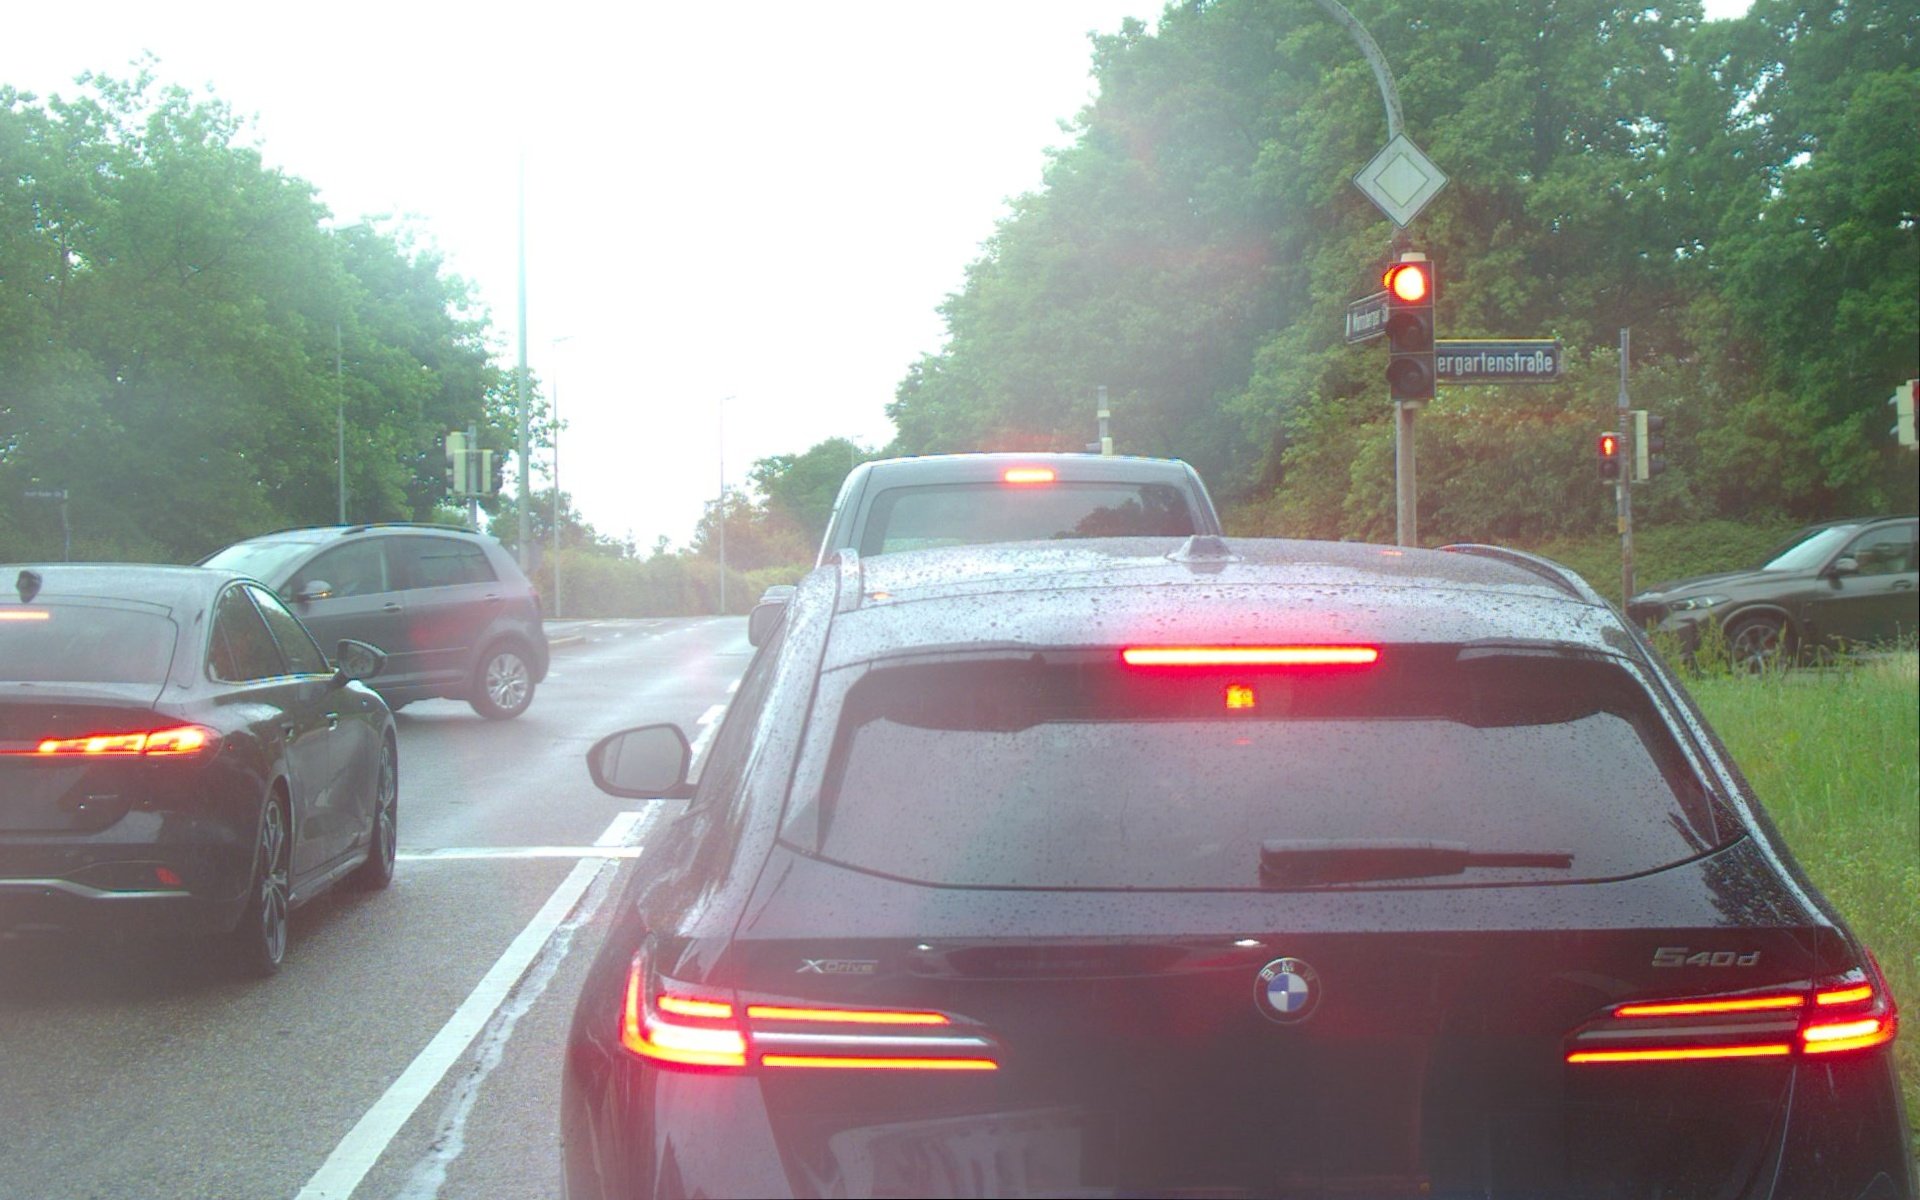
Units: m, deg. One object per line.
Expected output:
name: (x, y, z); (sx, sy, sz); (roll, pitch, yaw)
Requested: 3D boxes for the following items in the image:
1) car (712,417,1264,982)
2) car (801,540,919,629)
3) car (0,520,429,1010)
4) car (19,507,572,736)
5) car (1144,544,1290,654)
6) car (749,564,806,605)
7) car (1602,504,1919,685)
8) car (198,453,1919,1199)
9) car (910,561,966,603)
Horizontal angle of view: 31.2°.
car: (0.087, 0.305, 13.337); (1.818, 1.862, 3.952); (0, 1, 0)
car: (-1.756, -0.276, 59.262); (1.697, 1.422, 3.514); (-3, 1, -6)
car: (-3.372, 0.524, 13.026); (1.993, 1.522, 4.328); (-2, 1, 0)
car: (-5.218, 0.133, 27.371); (1.747, 1.596, 4.022); (-1, 2, 42)
car: (3.874, -0.039, 52.405); (1.873, 1.537, 3.952); (-2, 1, 0)
car: (-8.645, -0.743, 163.217); (1.994, 1.820, 3.999); (-2, 0, 6)
car: (9.235, -0.111, 35.422); (4.701, 1.711, 2.001); (-2, 1, -9)
car: (0.217, 0.611, 6.088); (1.898, 1.546, 4.614); (0, 0, 3)
car: (-0.901, -0.756, 142.975); (1.994, 1.618, 3.952); (-2, 1, 4)
